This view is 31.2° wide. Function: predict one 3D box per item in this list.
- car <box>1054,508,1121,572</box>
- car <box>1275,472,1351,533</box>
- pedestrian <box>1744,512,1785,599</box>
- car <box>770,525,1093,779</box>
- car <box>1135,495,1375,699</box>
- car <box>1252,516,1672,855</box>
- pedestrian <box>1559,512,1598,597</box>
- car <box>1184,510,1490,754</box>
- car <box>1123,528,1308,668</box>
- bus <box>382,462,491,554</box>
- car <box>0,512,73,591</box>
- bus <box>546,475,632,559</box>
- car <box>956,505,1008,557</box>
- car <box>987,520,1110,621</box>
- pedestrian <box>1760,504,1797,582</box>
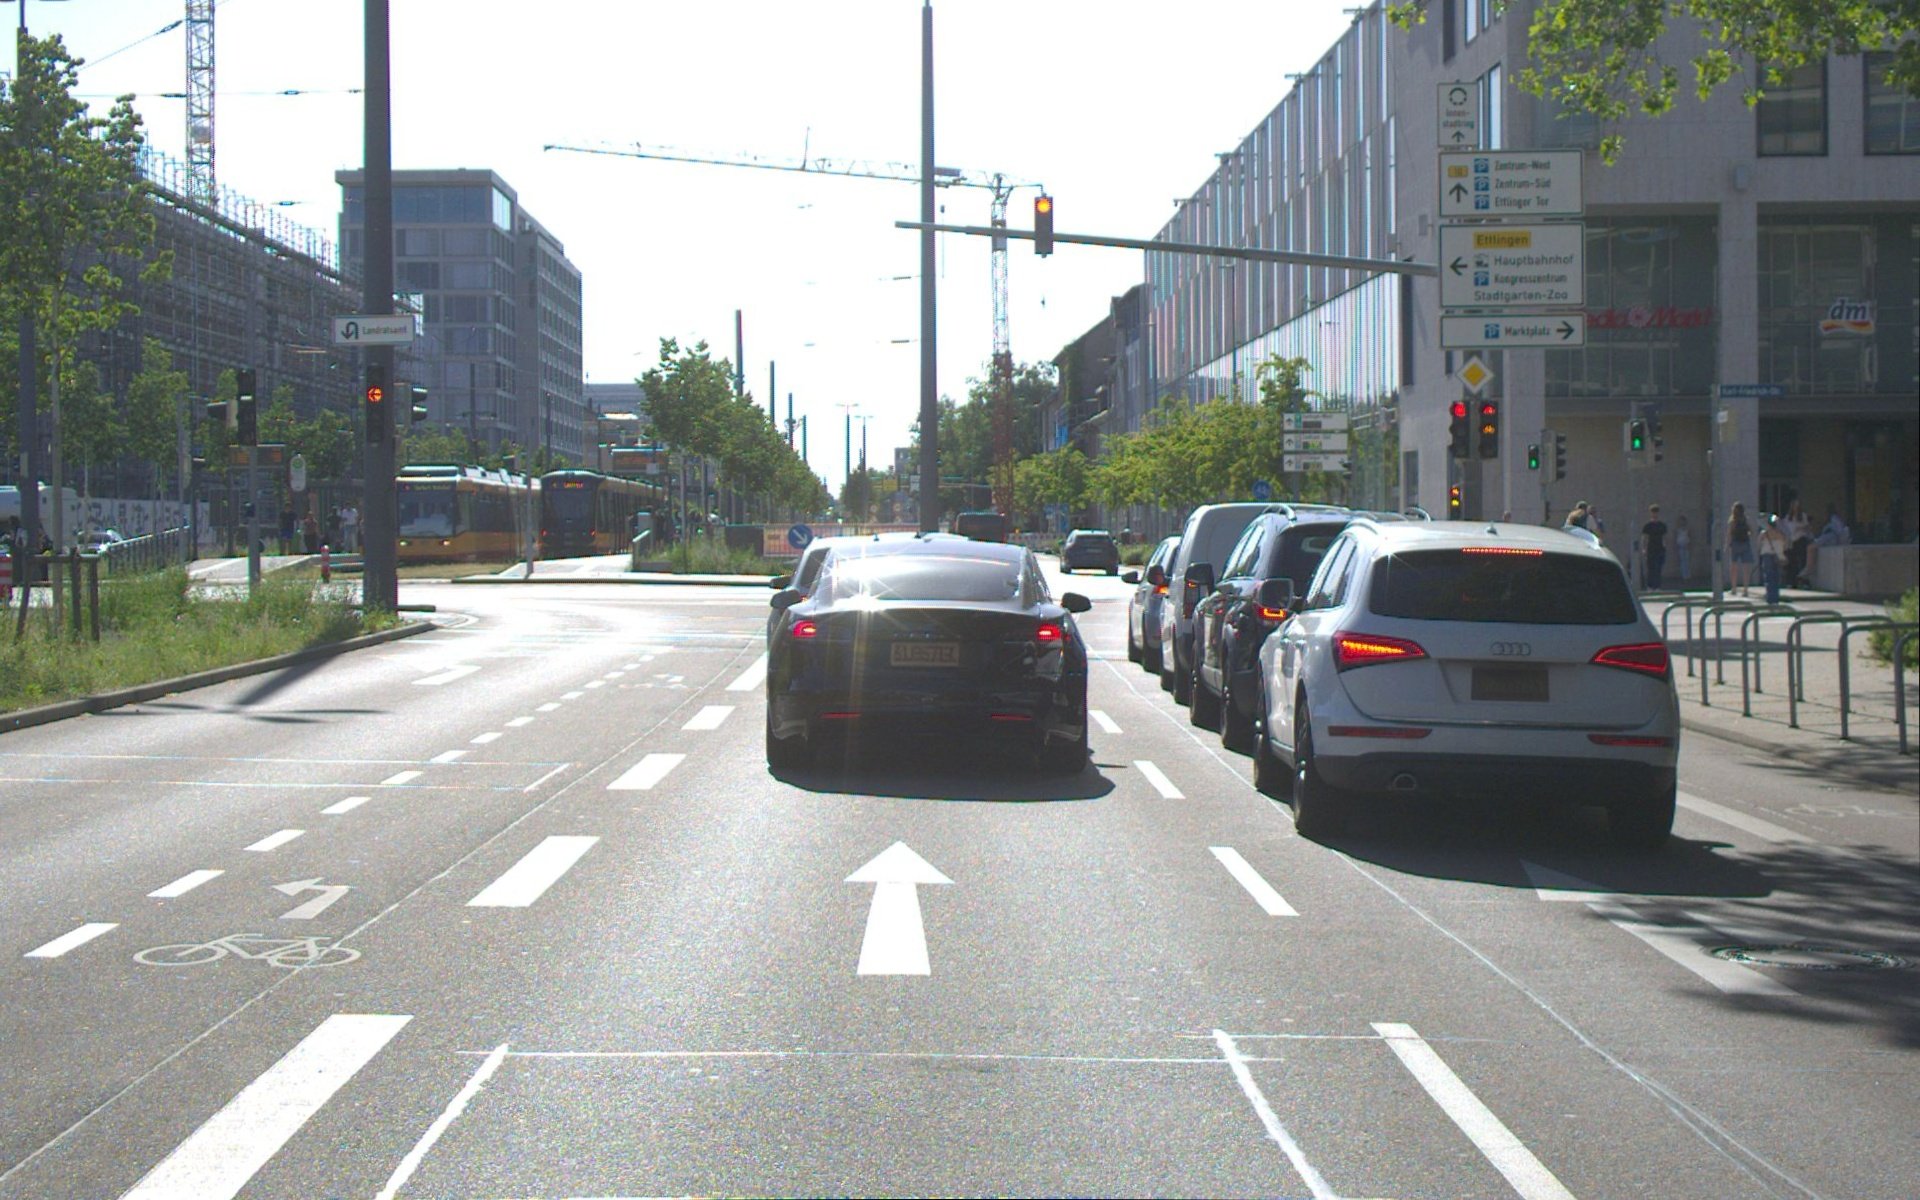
[{"bbox_3d":[4.199,-1.968,113.841,1.993,2.007,4.000,2,0,0],"label":"car"},{"bbox_3d":[10.344,-2.851,101.030,1.662,1.643,3.701,2,0,-2],"label":"car"},{"bbox_3d":[13.572,-0.746,58.026,0.562,1.435,0.631,2,0,6],"label":"pedestrian"},{"bbox_3d":[-0.220,0.266,22.367,1.912,1.481,4.010,0,2,-1],"label":"car"},{"bbox_3d":[2.677,-0.081,32.029,1.721,1.776,4.187,0,2,-2],"label":"car"},{"bbox_3d":[2.587,0.362,18.617,1.721,1.612,4.186,0,2,1],"label":"car"},{"bbox_3d":[10.648,-0.774,59.176,0.562,1.435,0.631,2,0,6],"label":"pedestrian"},{"bbox_3d":[2.694,0.162,25.423,1.721,1.647,4.187,0,2,-1],"label":"car"},{"bbox_3d":[2.772,-0.064,38.049,1.721,1.427,4.186,0,2,0],"label":"car"},{"bbox_3d":[-17.139,-2.961,113.104,2.627,2.773,8.845,2,0,-3],"label":"bus"},{"bbox_3d":[-14.754,-0.754,52.977,1.376,1.174,3.220,2,0,-1],"label":"car"},{"bbox_3d":[-13.991,-3.061,130.078,2.627,2.949,9.900,2,0,-3],"label":"bus"},{"bbox_3d":[0.887,-2.814,140.998,1.993,2.007,4.000,2,0,0],"label":"car"},{"bbox_3d":[1.281,-0.472,51.239,1.721,1.427,4.186,0,2,0],"label":"car"},{"bbox_3d":[15.311,-1.060,64.304,0.562,1.435,0.631,2,0,6],"label":"pedestrian"}]
